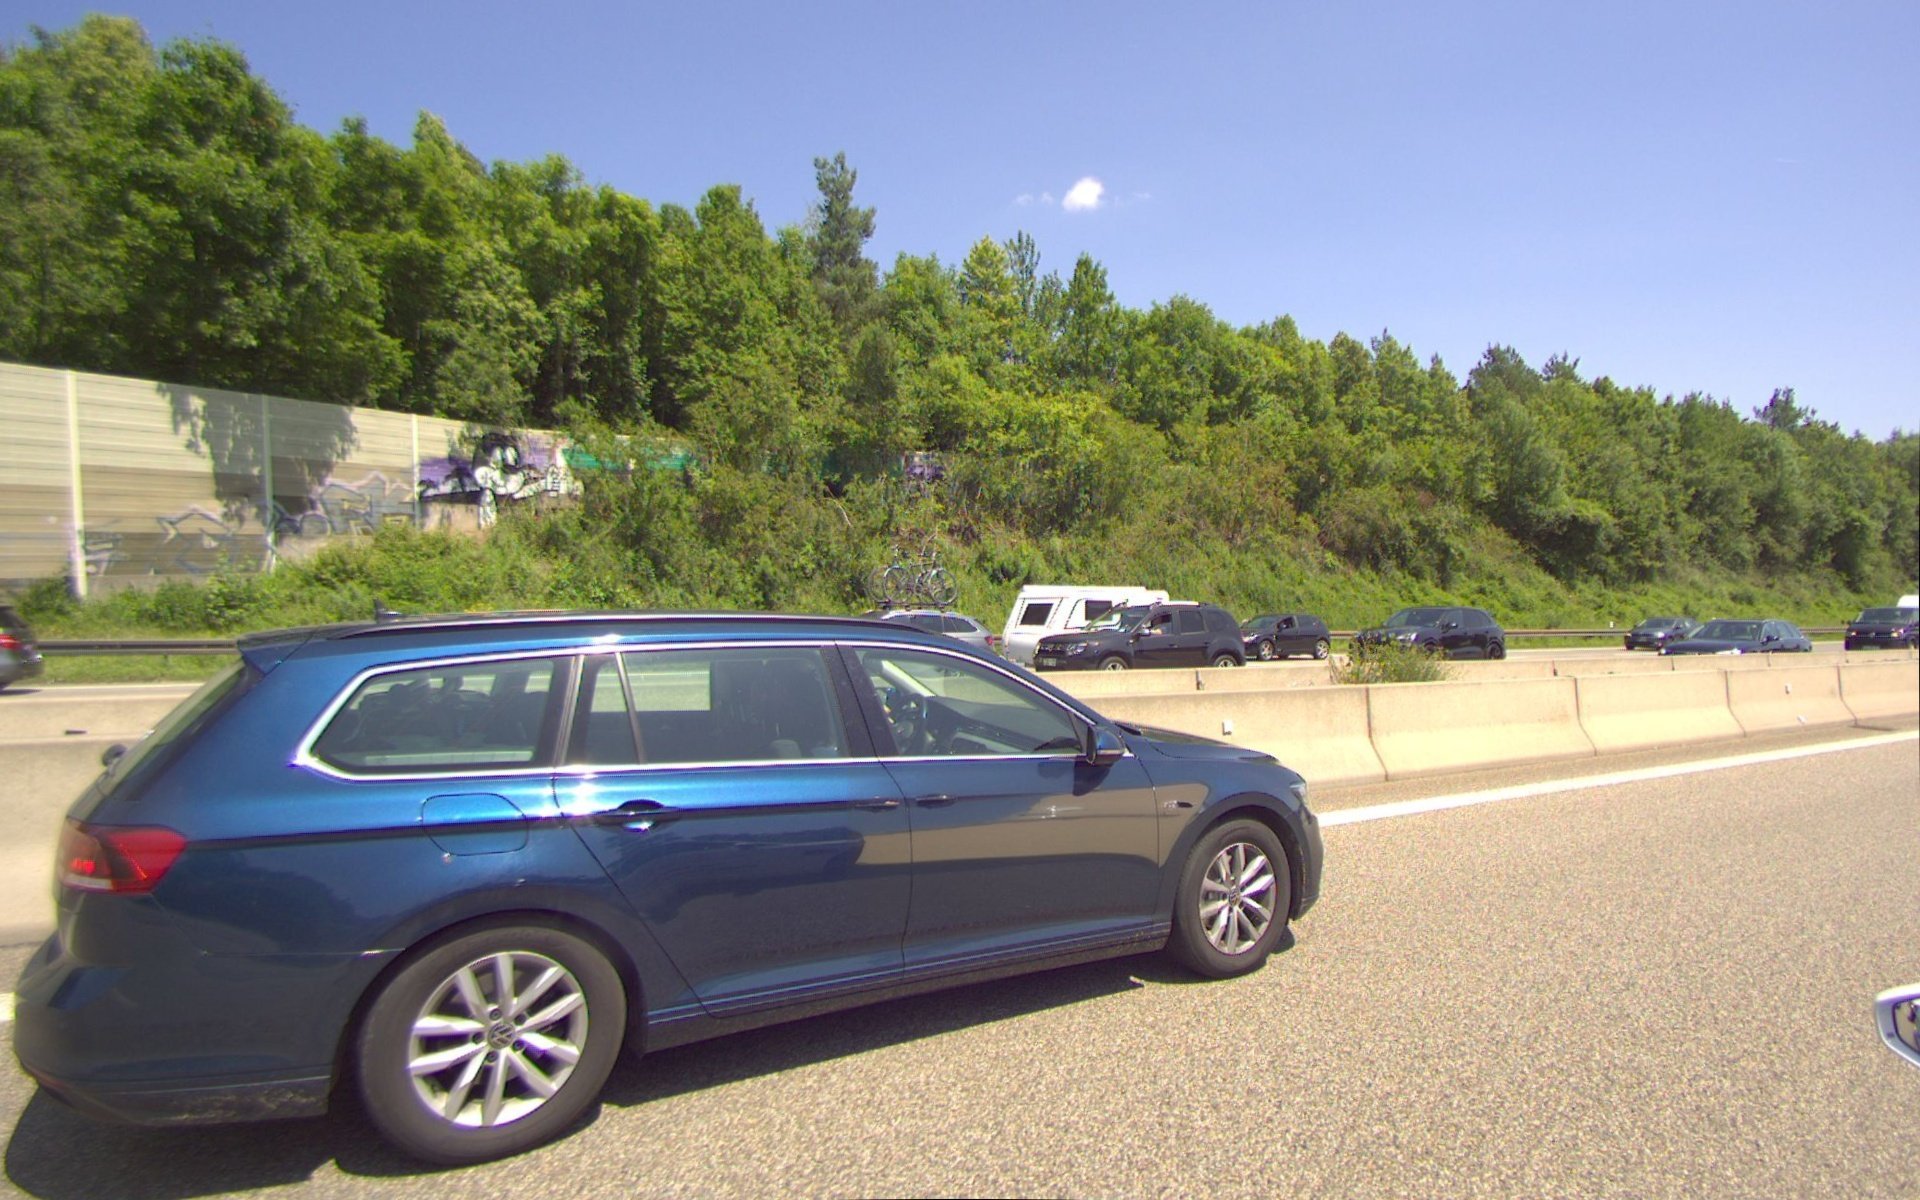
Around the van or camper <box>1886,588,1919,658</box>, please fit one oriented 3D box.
[{"bbox_3d":[41.617,0.980,42.150,6.757,2.798,2.220,1,0,-31],"label":"van or camper"}]

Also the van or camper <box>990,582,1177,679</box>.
[{"bbox_3d":[2.776,0.654,22.529,3.661,2.003,2.066,1,-1,-30],"label":"van or camper"}]

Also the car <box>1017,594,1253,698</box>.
[{"bbox_3d":[3.237,0.792,18.347,4.147,1.705,1.684,1,0,-31],"label":"car"}]

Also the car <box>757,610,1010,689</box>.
[{"bbox_3d":[-1.446,0.925,19.738,4.668,1.365,1.792,1,0,-31],"label":"car"}]

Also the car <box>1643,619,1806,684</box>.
[{"bbox_3d":[18.019,1.168,23.632,4.221,1.394,1.606,1,0,-31],"label":"car"}]

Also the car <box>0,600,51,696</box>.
[{"bbox_3d":[-16.826,0.709,15.156,4.337,1.481,1.570,1,-1,-30],"label":"car"}]

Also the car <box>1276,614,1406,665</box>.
[{"bbox_3d":[12.188,1.238,32.061,4.244,1.504,1.590,1,0,-31],"label":"car"}]

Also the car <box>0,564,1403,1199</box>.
[{"bbox_3d":[-0.482,0.689,3.992,4.675,1.446,1.724,1,0,-31],"label":"car"}]

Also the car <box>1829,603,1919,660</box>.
[{"bbox_3d":[35.523,1.214,38.411,5.133,2.040,1.984,2,-1,-31],"label":"car"}]

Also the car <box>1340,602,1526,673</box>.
[{"bbox_3d":[12.116,0.930,25.658,4.870,1.661,1.916,1,0,-31],"label":"car"}]
